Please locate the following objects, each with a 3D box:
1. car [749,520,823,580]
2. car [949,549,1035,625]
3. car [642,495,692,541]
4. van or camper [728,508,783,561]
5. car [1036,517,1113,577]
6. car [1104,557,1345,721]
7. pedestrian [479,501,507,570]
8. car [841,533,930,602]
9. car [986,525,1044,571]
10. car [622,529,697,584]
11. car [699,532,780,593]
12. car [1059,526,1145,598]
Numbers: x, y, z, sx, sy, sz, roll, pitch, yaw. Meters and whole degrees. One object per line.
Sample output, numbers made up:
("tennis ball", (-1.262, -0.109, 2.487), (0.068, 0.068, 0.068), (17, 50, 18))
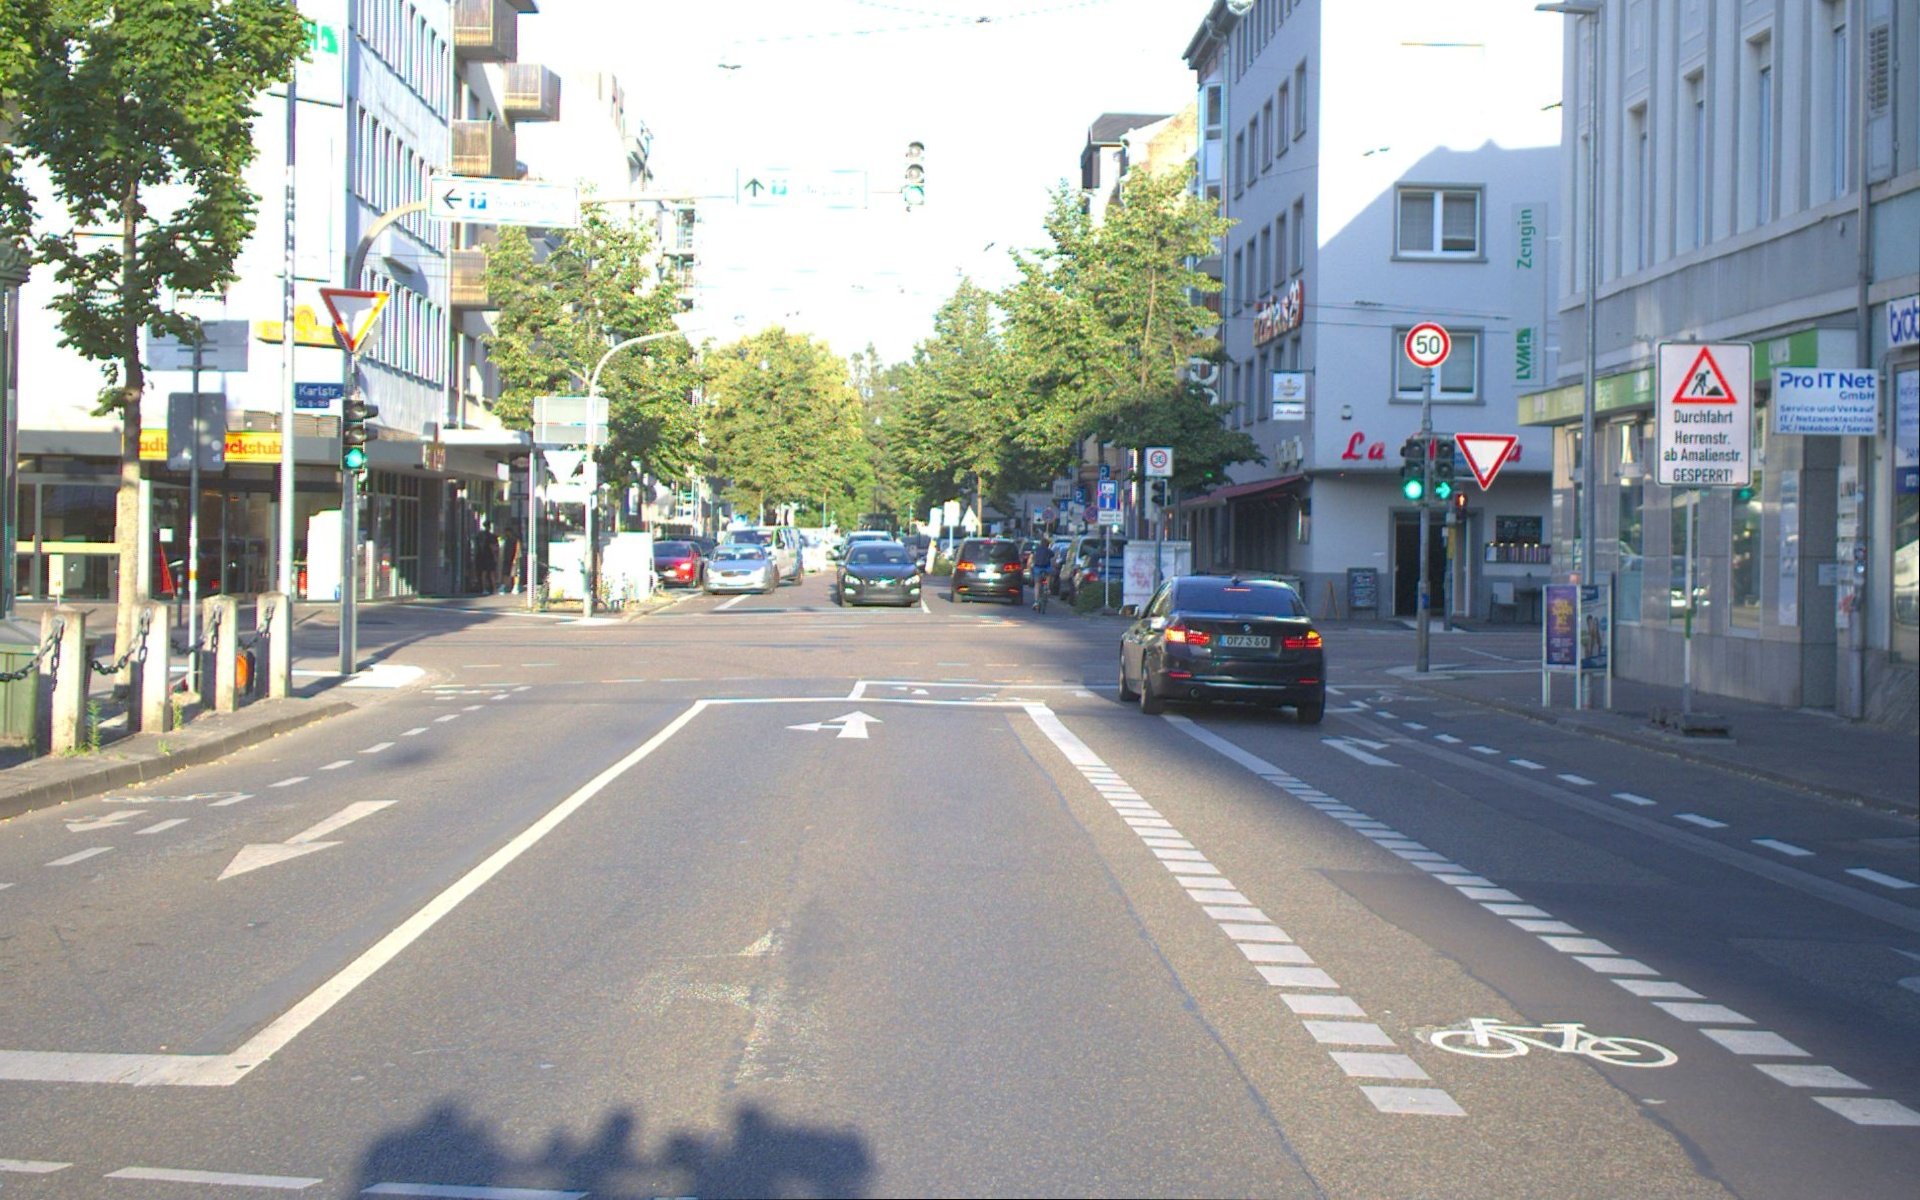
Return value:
("car", (-5.306, -1.554, 105.254), (1.993, 1.744, 4.000), (2, 1, 0))
("car", (0.771, -0.337, 85.468), (1.993, 1.744, 4.000), (2, 1, -1))
("car", (-13.124, -3.680, 154.068), (1.828, 2.007, 3.676), (2, 1, 1))
("van or camper", (-9.823, -3.158, 164.812), (2.472, 2.397, 4.001), (2, 1, -5))
("car", (3.259, -1.528, 98.287), (1.993, 1.611, 4.000), (2, 1, 0))
("car", (2.635, 0.352, 35.165), (1.888, 1.486, 4.205), (2, 1, -3))
("pedestrian", (-11.681, -1.612, 85.962), (0.600, 1.715, 0.578), (1, 1, -15))
("car", (-1.687, -0.764, 78.791), (1.885, 1.481, 4.000), (2, 1, 0))
("car", (1.995, -1.897, 125.759), (1.780, 1.590, 3.635), (2, 1, -4))
("car", (-9.321, -1.372, 106.941), (1.894, 1.590, 4.000), (2, 1, 0))
("car", (-6.041, -1.050, 94.453), (1.894, 1.590, 4.000), (2, 1, 0))
("car", (3.656, -1.008, 89.048), (1.993, 1.773, 4.000), (2, 1, 0))
